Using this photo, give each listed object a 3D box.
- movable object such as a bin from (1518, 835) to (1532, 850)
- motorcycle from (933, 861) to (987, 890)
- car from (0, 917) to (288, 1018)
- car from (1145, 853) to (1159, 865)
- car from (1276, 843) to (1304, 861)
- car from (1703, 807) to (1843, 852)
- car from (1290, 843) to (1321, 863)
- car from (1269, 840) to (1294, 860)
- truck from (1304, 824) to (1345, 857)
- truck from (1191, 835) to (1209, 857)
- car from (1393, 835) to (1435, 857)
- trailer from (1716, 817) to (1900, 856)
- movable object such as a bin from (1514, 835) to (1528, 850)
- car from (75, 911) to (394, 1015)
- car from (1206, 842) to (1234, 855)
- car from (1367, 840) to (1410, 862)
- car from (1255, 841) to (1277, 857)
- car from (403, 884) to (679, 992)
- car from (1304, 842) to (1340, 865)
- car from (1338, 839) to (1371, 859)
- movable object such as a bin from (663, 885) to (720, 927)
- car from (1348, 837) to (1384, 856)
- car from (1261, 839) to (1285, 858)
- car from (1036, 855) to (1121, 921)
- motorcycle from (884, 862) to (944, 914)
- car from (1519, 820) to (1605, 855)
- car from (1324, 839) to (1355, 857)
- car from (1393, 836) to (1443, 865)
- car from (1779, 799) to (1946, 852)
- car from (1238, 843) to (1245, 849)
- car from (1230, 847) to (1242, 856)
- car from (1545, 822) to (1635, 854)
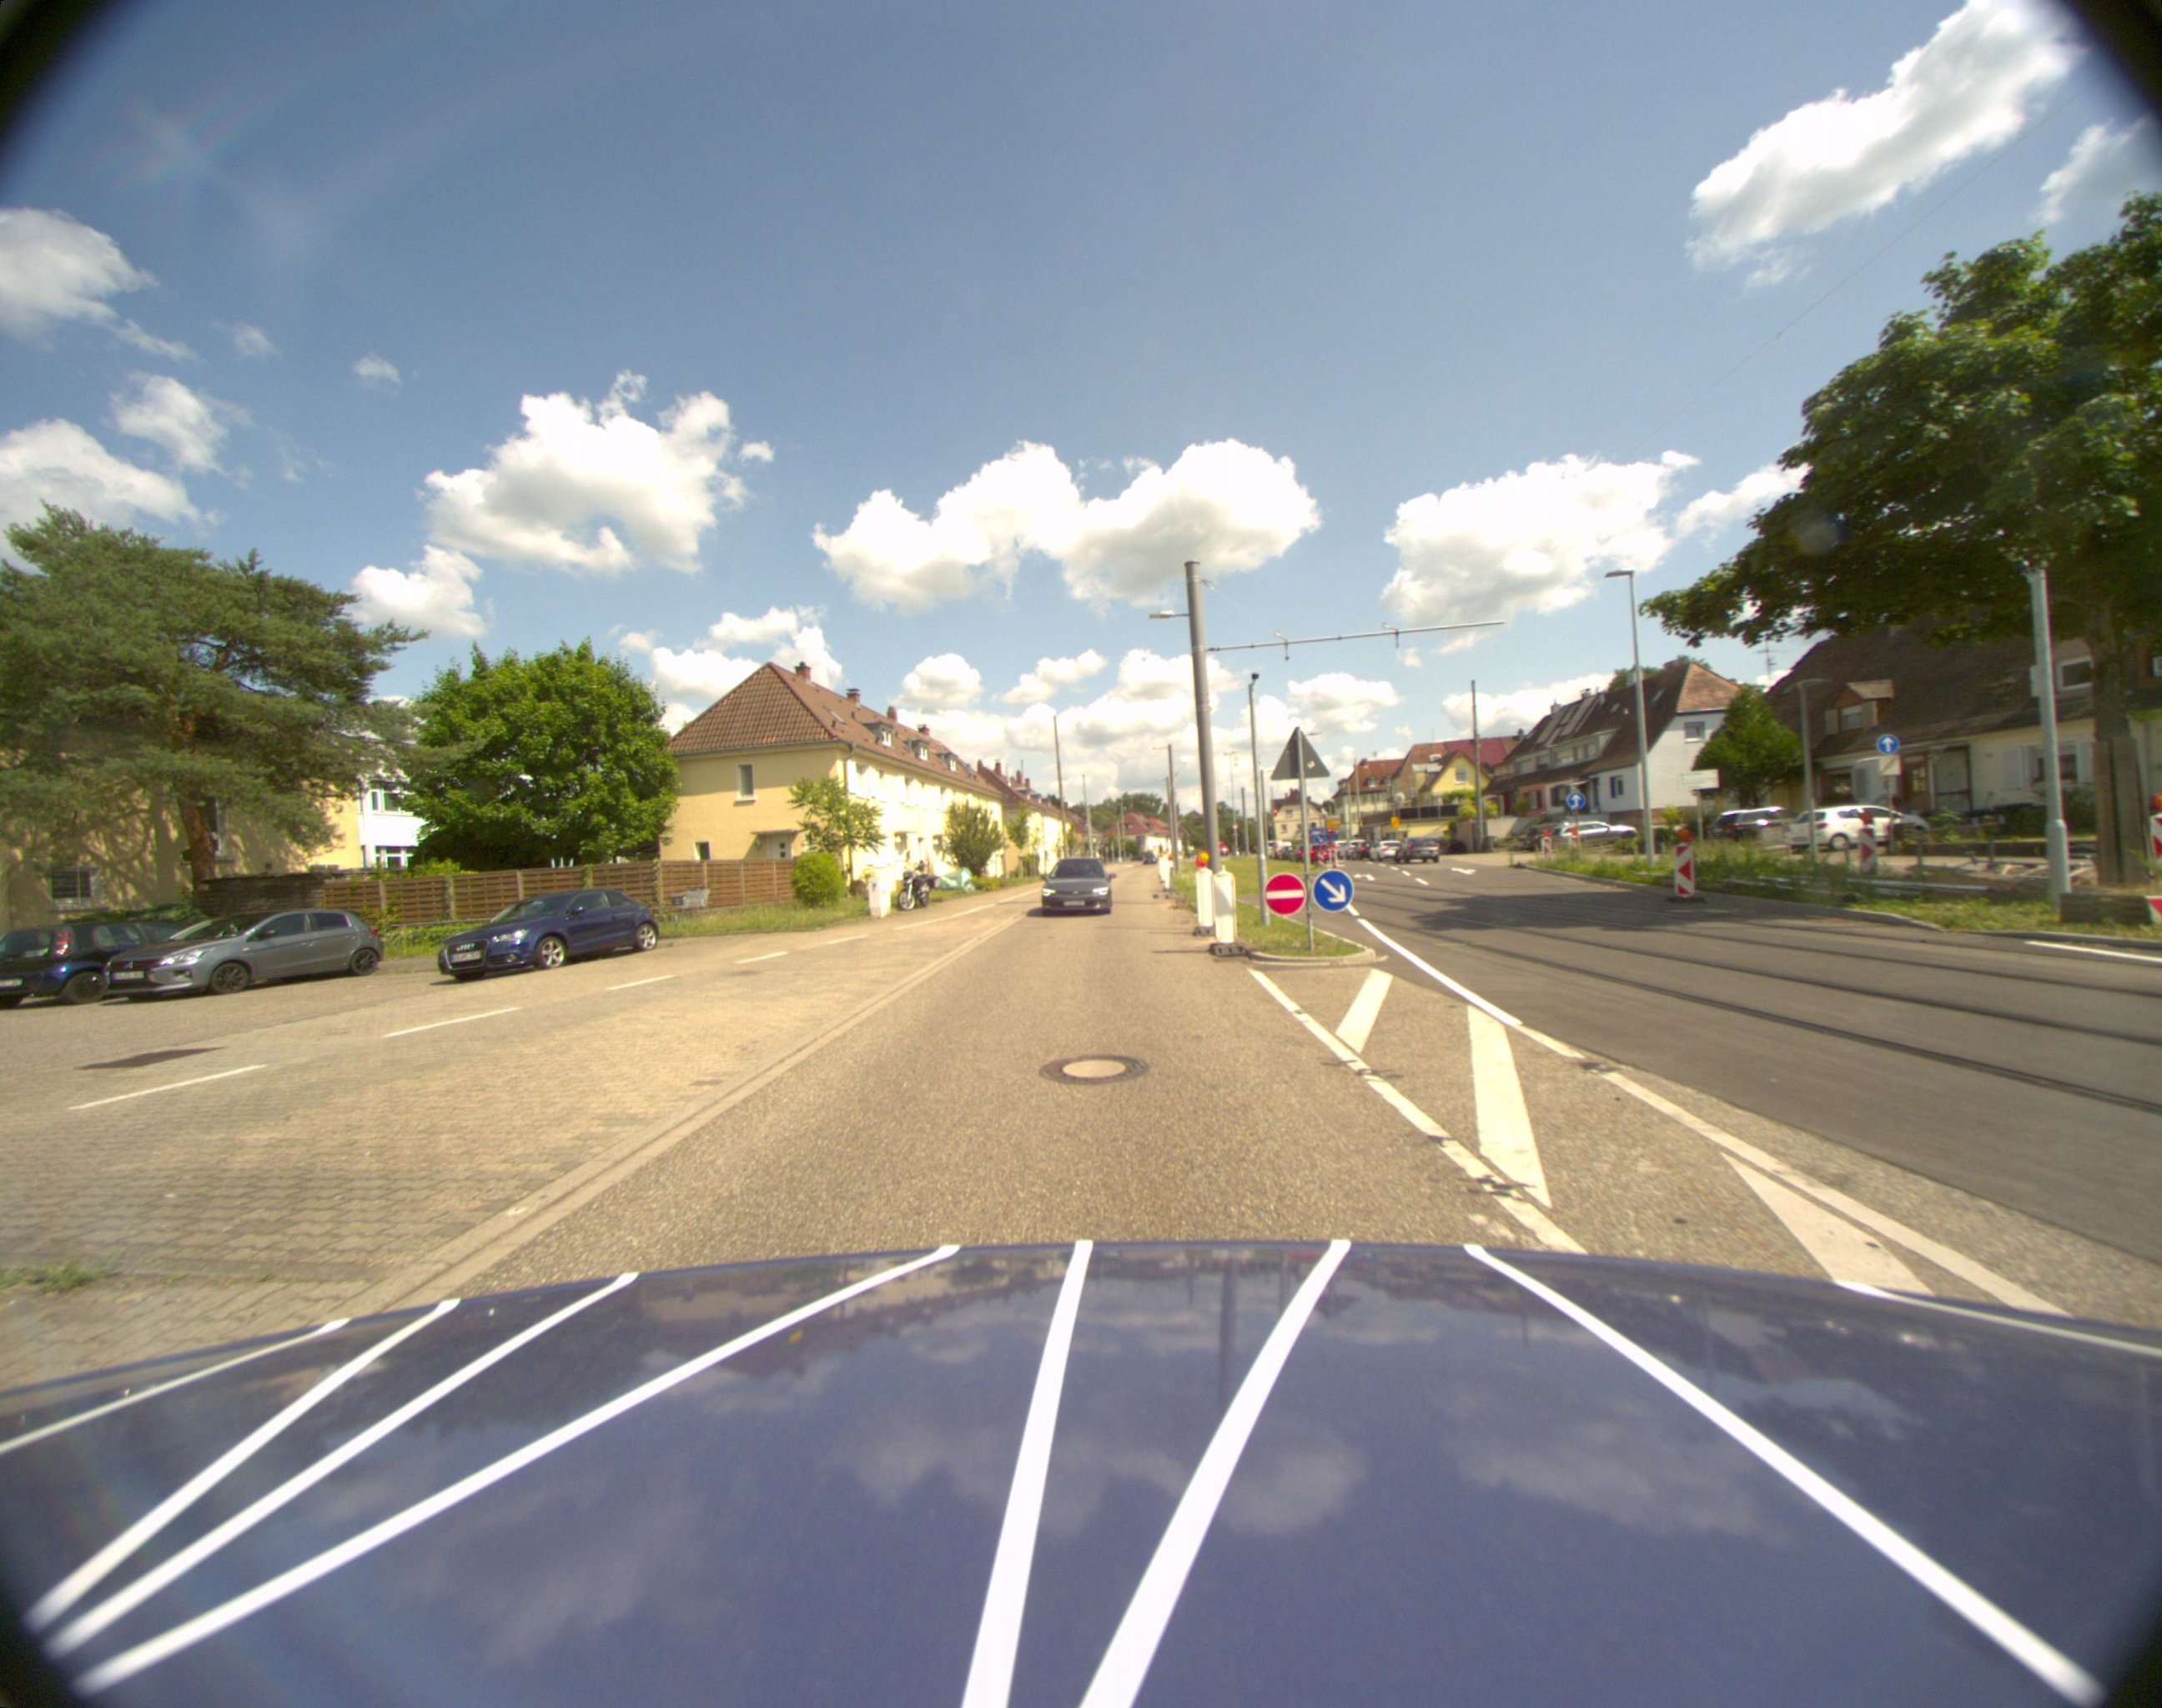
[{"bbox_3d":[28.575,-0.723,48.884,0.517,0.947,0.583,-4,0,5],"label":"movable object such as a bin"},{"bbox_3d":[-5.593,0.978,35.073,2.232,1.190,0.855,-4,0,8],"label":"motorcycle"},{"bbox_3d":[-18.111,2.078,14.655,1.543,1.403,3.933,-2,-1,-2],"label":"car"},{"bbox_3d":[10.011,0.678,107.003,1.879,1.543,4.987,-4,0,5],"label":"car"},{"bbox_3d":[19.525,-0.228,71.103,1.729,1.553,4.543,-4,0,6],"label":"car"},{"bbox_3d":[28.071,-0.978,30.945,3.891,1.535,1.707,-4,0,8],"label":"car"},{"bbox_3d":[18.806,-0.112,63.896,1.729,1.553,4.646,-4,0,7],"label":"car"},{"bbox_3d":[20.527,-0.414,77.757,1.729,1.843,4.543,-4,0,6],"label":"car"},{"bbox_3d":[25.597,-1.444,80.295,2.841,3.135,7.939,-4,0,9],"label":"truck"},{"bbox_3d":[29.489,-2.047,188.411,3.474,5.153,14.228,-4,0,11],"label":"truck"},{"bbox_3d":[25.994,-0.609,59.496,1.729,1.553,4.544,-4,0,7],"label":"car"},{"bbox_3d":[27.423,-0.648,28.794,4.932,1.118,1.961,-4,0,3],"label":"trailer"},{"bbox_3d":[28.631,-0.722,49.464,0.517,0.947,0.583,-4,0,5],"label":"movable object such as a bin"},{"bbox_3d":[-15.675,1.937,14.439,1.564,1.389,3.934,-4,-1,0],"label":"car"},{"bbox_3d":[23.560,-0.948,128.928,2.288,1.861,4.977,-4,0,-22],"label":"car"},{"bbox_3d":[20.999,-0.211,51.997,1.728,1.327,4.544,-4,0,9],"label":"car"},{"bbox_3d":[22.239,-0.611,91.587,1.922,1.770,4.543,-4,0,6],"label":"car"},{"bbox_3d":[-9.661,1.418,14.127,1.643,1.372,4.289,-4,0,6],"label":"car"},{"bbox_3d":[18.005,-0.050,56.958,1.729,1.553,4.544,-4,0,7],"label":"car"},{"bbox_3d":[23.546,-0.411,65.543,1.729,1.553,4.544,-4,0,7],"label":"car"},{"bbox_3d":[-9.957,1.314,19.455,0.571,0.930,1.288,-4,0,10],"label":"movable object such as a bin"},{"bbox_3d":[22.143,-0.561,59.137,1.728,1.327,4.544,-4,0,9],"label":"car"},{"bbox_3d":[21.497,-0.594,85.248,1.922,1.953,4.543,-4,0,6],"label":"car"},{"bbox_3d":[0.053,0.838,20.823,1.742,1.513,4.703,-2,0,6],"label":"car"},{"bbox_3d":[-5.110,1.017,23.458,1.049,1.462,2.586,-1,0,5],"label":"motorcycle"},{"bbox_3d":[29.315,-1.013,46.413,3.996,1.835,1.803,-4,0,3],"label":"car"},{"bbox_3d":[24.682,-0.592,72.682,1.729,1.553,4.543,-4,0,6],"label":"car"},{"bbox_3d":[19.957,-0.224,45.230,1.728,1.518,4.774,-4,0,12],"label":"car"},{"bbox_3d":[27.015,-0.954,26.355,3.960,1.535,1.760,-4,0,-1],"label":"car"},{"bbox_3d":[48.004,-2.413,226.674,1.720,1.582,4.175,-4,0,9],"label":"car"},{"bbox_3d":[35.806,-0.548,175.485,2.282,1.861,4.990,-4,0,14],"label":"car"},{"bbox_3d":[29.160,-0.912,43.605,3.887,1.546,1.682,-4,0,3],"label":"car"}]
